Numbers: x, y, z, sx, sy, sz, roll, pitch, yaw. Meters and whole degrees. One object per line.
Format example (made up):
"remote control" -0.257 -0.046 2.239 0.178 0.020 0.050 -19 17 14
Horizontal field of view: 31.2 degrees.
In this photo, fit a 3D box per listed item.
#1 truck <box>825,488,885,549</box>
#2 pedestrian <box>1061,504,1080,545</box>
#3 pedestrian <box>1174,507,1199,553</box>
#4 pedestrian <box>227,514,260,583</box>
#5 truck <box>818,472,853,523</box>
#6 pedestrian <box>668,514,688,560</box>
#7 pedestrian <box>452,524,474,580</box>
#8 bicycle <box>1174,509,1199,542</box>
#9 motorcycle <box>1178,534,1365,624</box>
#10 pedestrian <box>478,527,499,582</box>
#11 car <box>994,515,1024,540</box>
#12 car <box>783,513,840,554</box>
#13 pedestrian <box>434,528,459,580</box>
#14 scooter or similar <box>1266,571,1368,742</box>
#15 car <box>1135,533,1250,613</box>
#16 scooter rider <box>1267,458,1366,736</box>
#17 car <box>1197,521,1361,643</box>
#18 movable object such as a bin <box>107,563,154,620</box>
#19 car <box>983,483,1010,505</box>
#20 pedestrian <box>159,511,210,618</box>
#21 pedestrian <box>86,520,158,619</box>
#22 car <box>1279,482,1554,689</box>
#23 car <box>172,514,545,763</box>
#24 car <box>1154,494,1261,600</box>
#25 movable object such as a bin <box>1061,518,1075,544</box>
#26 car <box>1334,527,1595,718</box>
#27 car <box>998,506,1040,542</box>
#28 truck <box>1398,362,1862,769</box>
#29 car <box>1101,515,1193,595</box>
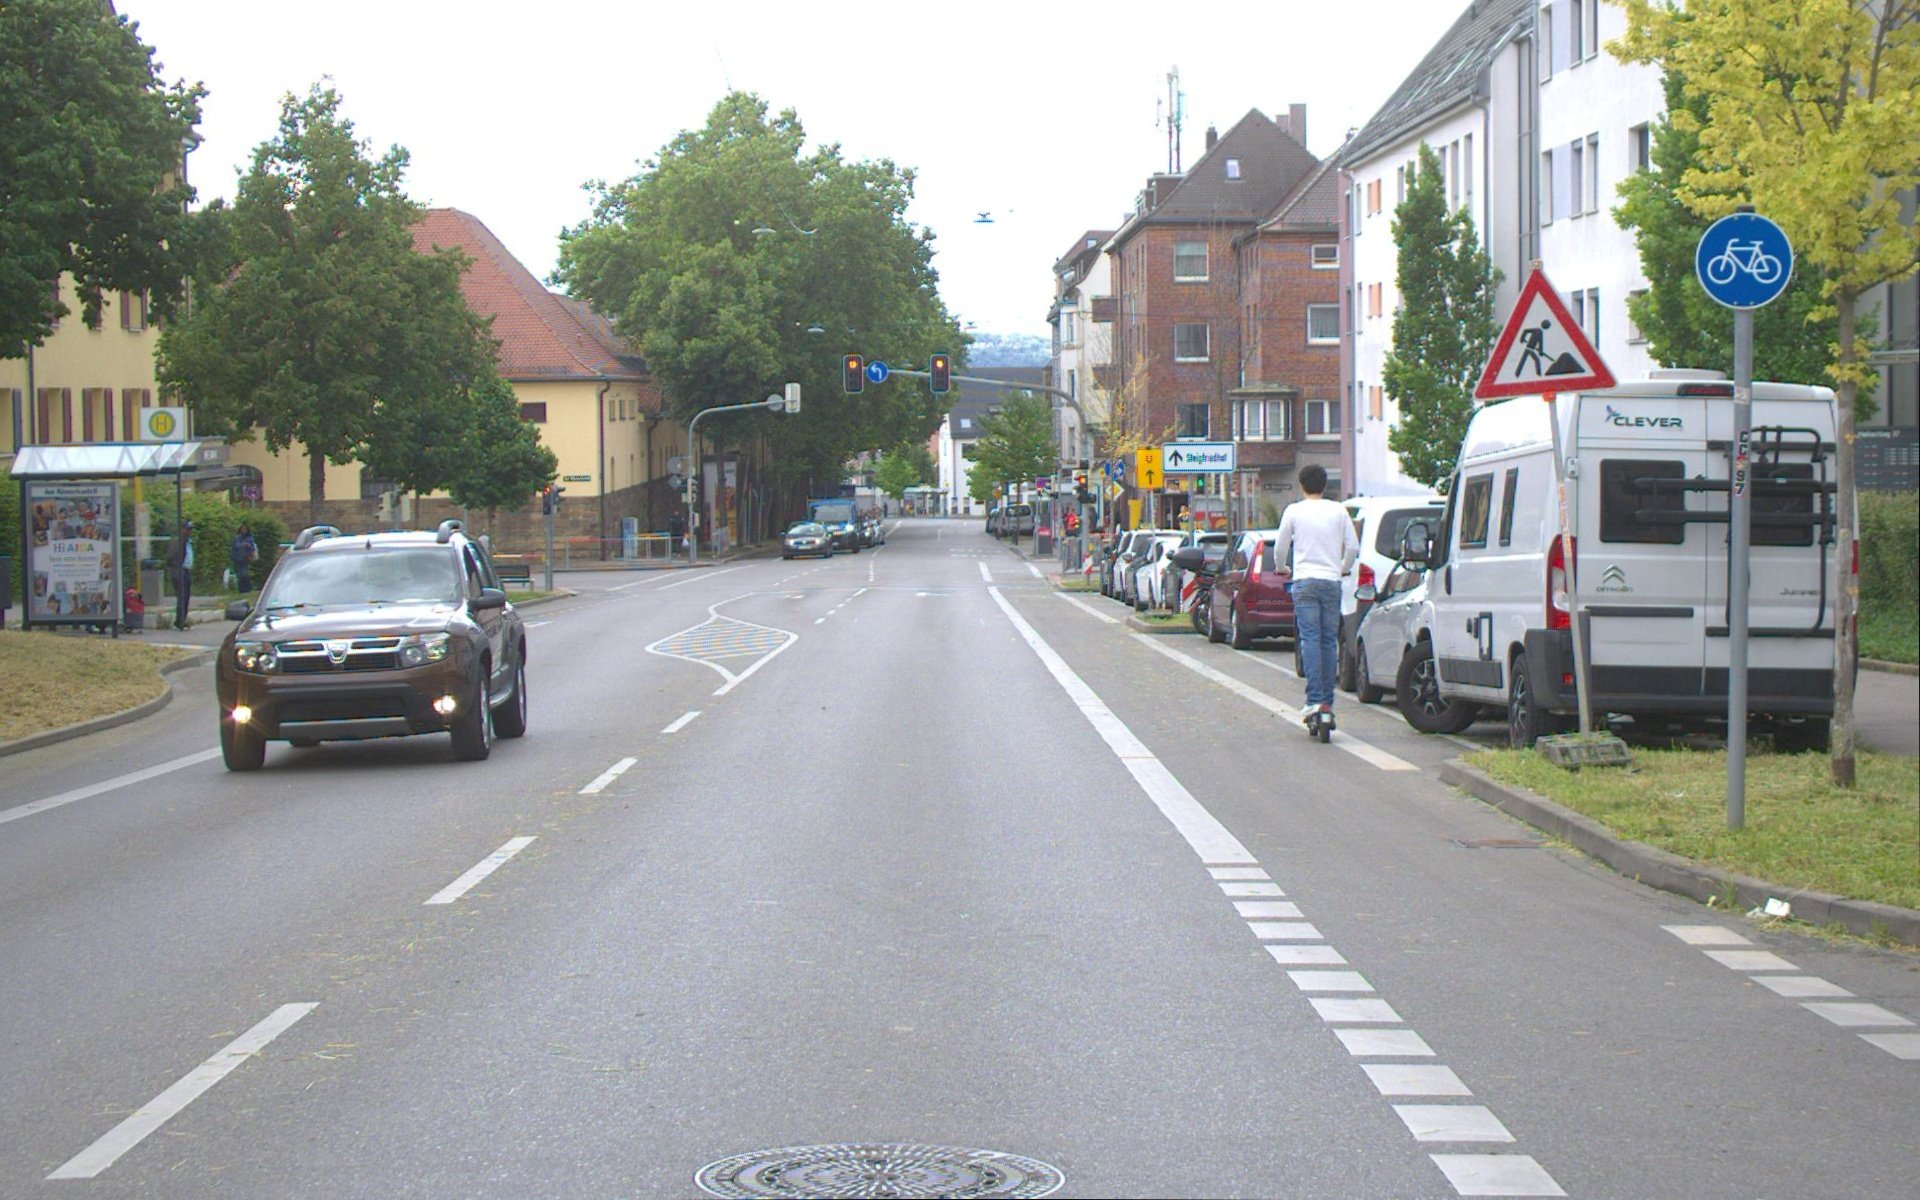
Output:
"truck" -4.352 -3.372 141.442 2.295 2.419 6.412 -1 2 -3
"pedestrian" 4.463 -3.058 139.040 0.565 1.631 0.680 1 2 20
"pedestrian" 8.226 -2.542 124.879 0.788 1.650 0.772 -2 1 0
"pedestrian" -16.705 -1.199 80.197 0.640 1.613 0.618 0 1 -1
"truck" -8.219 -6.786 227.791 2.231 3.335 7.450 0 2 -1
"pedestrian" -10.850 -2.413 132.142 0.674 1.759 0.725 0 1 3
"pedestrian" -15.916 -1.539 110.078 0.564 1.771 0.842 0 2 -1
"bicycle" 8.278 -2.713 125.655 0.760 1.189 2.392 0 2 0
"motorcycle" 4.486 -0.313 49.634 2.597 1.274 0.753 0 2 -4
"pedestrian" -15.070 -1.458 109.923 0.564 1.771 0.717 0 1 -1
"car" 3.047 -4.567 215.126 1.668 1.542 3.757 0 2 -3
"car" -5.670 -2.567 131.821 1.756 1.467 4.306 -1 2 3
"pedestrian" -15.540 -1.392 104.010 0.564 1.561 0.842 0 2 5
"scooter or similar" 2.603 0.391 25.191 0.490 1.159 2.075 0 2 -1
"car" 4.390 -0.538 65.553 1.730 1.408 4.500 1 2 -2
"scooter rider" 2.604 -0.032 25.180 0.625 2.006 0.758 0 1 -1
"car" 4.242 -0.280 46.276 1.680 1.539 4.339 0 2 -2
"movable object such as a bin" -12.792 -0.131 53.019 0.536 0.842 0.665 1 2 1
"car" 2.593 -7.553 244.090 1.668 1.542 3.757 0 2 -3
"pedestrian" -12.519 -0.580 55.506 0.597 1.721 0.861 1 1 2
"pedestrian" -12.998 -0.475 53.349 0.899 1.504 0.806 1 2 0
"car" 4.507 -0.207 34.761 1.993 1.937 5.212 0 2 -1
"car" -4.215 0.200 24.765 1.899 1.614 4.362 0 2 0
"car" 4.286 -0.966 60.083 1.632 1.644 4.357 1 3 1
"movable object such as a bin" 4.368 -2.779 138.854 0.453 1.053 0.410 1 1 20
"car" 4.279 0.146 29.634 1.525 1.480 3.727 1 2 -2
"car" 3.281 -4.240 191.578 1.993 1.929 4.920 0 2 -3
"truck" 4.580 -0.299 24.493 2.052 2.556 5.690 0 2 -1
"car" 4.217 -1.044 78.112 1.658 1.710 4.552 1 2 -2
